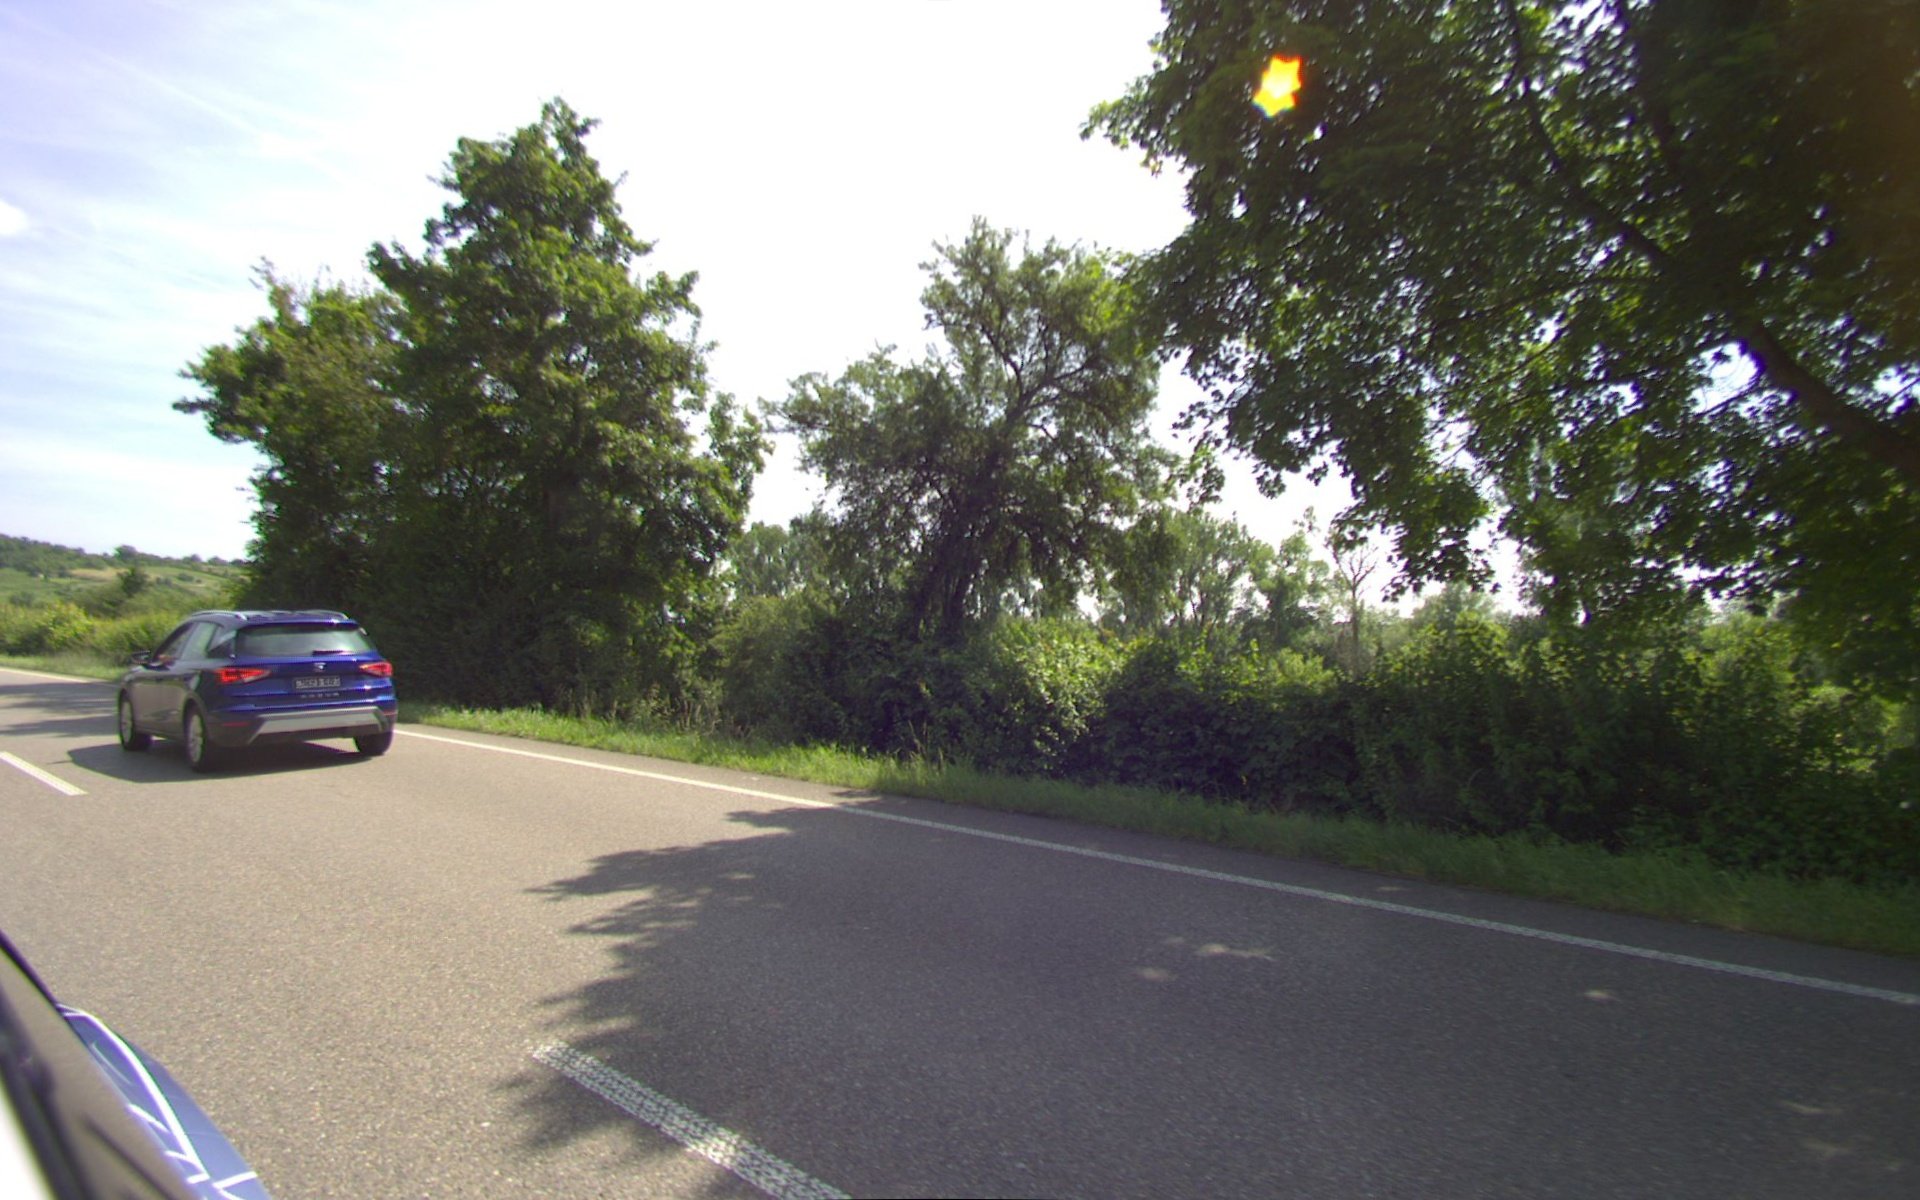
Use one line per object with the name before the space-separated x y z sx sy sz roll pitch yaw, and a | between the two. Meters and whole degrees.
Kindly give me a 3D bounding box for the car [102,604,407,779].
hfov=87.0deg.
car | -7.647 0.849 10.836 3.954 1.543 1.653 -1 -2 39
